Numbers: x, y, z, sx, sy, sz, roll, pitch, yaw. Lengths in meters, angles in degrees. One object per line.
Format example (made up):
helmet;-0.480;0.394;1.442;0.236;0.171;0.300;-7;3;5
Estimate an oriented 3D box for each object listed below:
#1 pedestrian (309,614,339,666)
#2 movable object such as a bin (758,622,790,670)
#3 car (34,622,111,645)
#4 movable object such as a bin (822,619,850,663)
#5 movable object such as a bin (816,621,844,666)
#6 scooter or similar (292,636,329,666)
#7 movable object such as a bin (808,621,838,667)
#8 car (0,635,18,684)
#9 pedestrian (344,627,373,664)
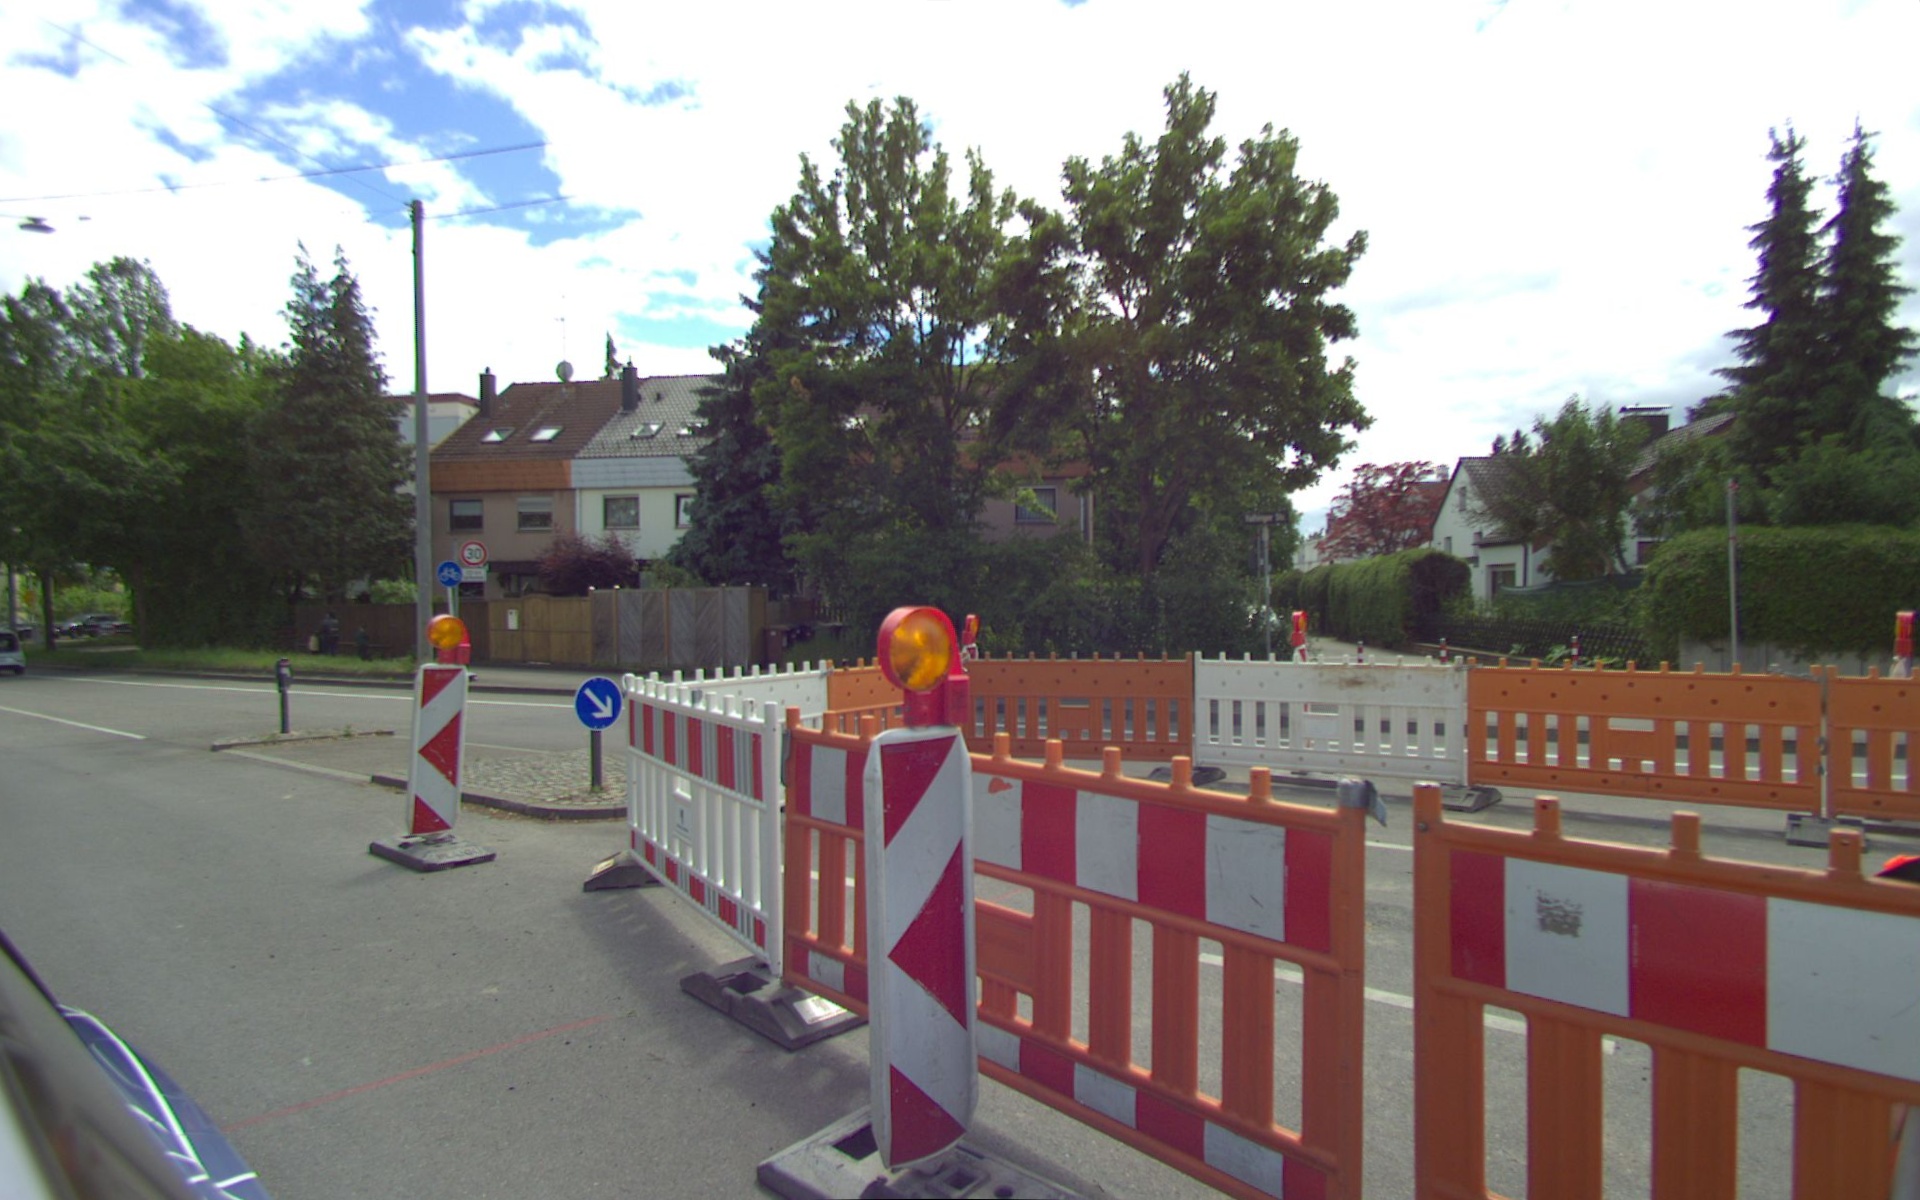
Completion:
pedestrian;-18.758;1.179;29.845;0.640;1.492;0.549;-1;0;37
movable object such as a bin;-4.026;0.984;21.880;0.494;1.018;0.471;-1;-1;34
car;-66.302;2.479;75.693;1.979;1.519;3.987;-1;0;11
movable object such as a bin;-2.800;0.928;22.885;0.522;0.985;0.376;-1;-1;21
movable object such as a bin;-2.888;0.971;22.499;0.522;0.985;0.332;-1;-1;21
scooter or similar;-19.452;1.518;30.307;1.028;0.871;0.630;-1;0;37
movable object such as a bin;-2.988;0.965;22.141;0.544;0.985;0.369;-1;-1;21
car;-31.886;1.890;32.550;3.994;1.524;1.677;-1;-1;37
pedestrian;-18.225;1.377;30.679;0.640;1.094;0.549;-1;0;37
